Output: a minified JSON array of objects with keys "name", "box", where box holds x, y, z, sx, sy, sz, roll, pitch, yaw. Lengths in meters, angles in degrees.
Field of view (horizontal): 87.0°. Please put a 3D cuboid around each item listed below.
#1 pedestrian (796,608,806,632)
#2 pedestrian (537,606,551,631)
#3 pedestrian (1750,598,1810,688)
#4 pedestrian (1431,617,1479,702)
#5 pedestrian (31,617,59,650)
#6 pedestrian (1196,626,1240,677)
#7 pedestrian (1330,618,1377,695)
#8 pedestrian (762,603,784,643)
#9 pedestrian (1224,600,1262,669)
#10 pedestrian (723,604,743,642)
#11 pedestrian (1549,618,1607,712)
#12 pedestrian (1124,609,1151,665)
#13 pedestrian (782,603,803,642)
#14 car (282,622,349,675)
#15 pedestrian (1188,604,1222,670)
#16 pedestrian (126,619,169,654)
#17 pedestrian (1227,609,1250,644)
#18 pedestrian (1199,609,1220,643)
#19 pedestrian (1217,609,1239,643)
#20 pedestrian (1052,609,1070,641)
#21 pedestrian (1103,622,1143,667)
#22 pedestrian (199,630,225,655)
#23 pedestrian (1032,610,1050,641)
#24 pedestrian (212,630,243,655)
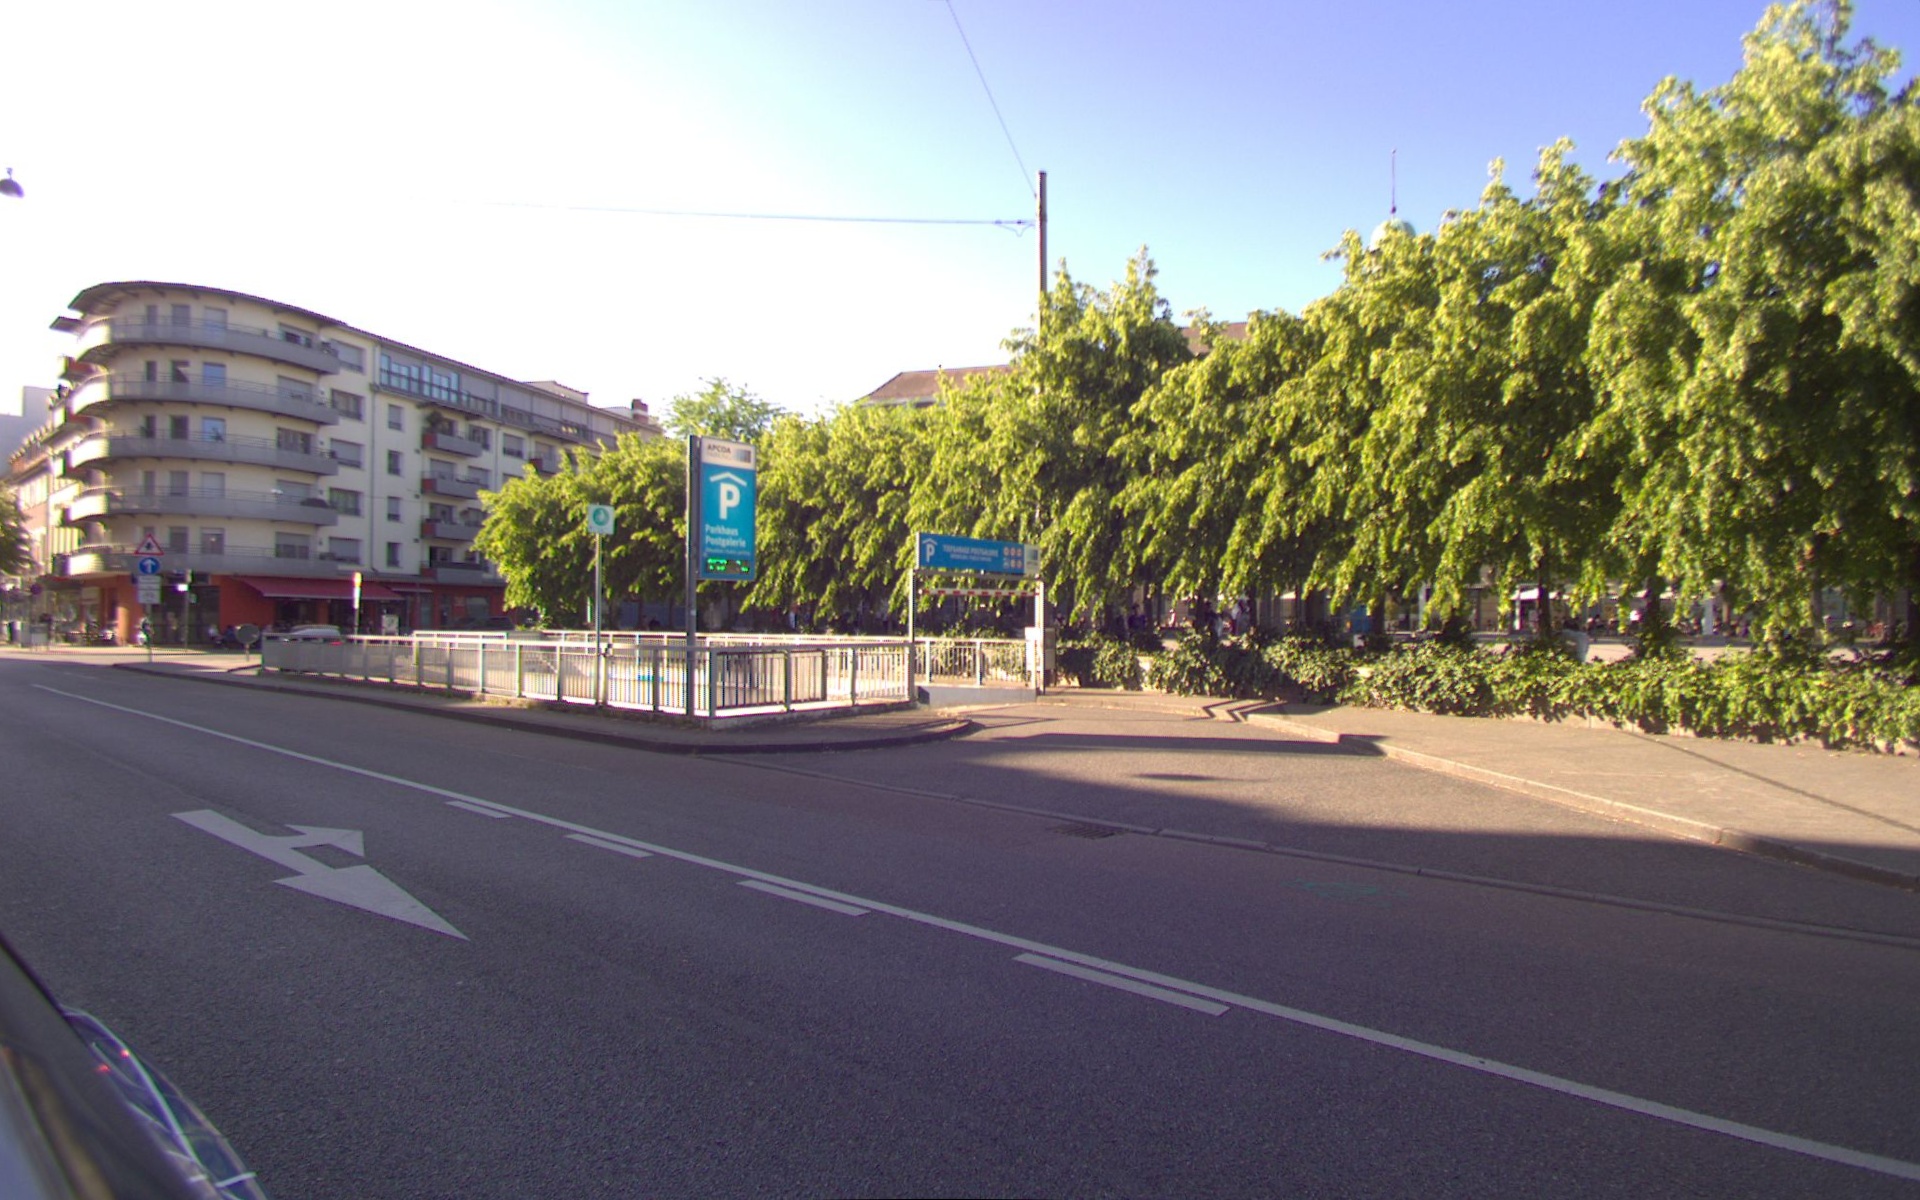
[{"name":"pedestrian","box":[-10.789,1.370,68.650,0.489,1.591,0.491,-1,0,16]},{"name":"pedestrian","box":[-31.177,1.407,75.927,0.684,1.857,0.737,-1,0,41]},{"name":"pedestrian","box":[14.346,0.732,17.716,0.691,1.532,0.677,-1,0,30]},{"name":"pedestrian","box":[8.752,1.028,17.891,0.621,1.447,0.645,-1,0,39]},{"name":"pedestrian","box":[-50.378,1.854,55.709,0.962,1.762,1.047,-1,0,41]},{"name":"pedestrian","box":[5.719,1.136,22.435,0.682,1.079,0.686,-1,0,-13]},{"name":"pedestrian","box":[7.525,1.063,19.338,0.622,1.409,0.644,-1,0,44]},{"name":"pedestrian","box":[-9.043,1.108,48.956,0.681,1.877,0.741,-1,0,27]},{"name":"pedestrian","box":[6.628,0.803,23.735,0.517,1.594,0.686,-1,0,-25]},{"name":"pedestrian","box":[-11.297,1.136,50.418,0.679,1.857,0.743,-1,0,19]},{"name":"pedestrian","box":[9.808,1.014,16.083,0.611,1.447,0.588,-1,0,14]},{"name":"pedestrian","box":[4.543,0.934,25.889,0.545,1.385,0.680,-1,0,19]},{"name":"pedestrian","box":[-8.228,1.107,49.759,0.681,1.857,0.741,-1,0,27]},{"name":"car","box":[-20.238,1.481,31.727,1.649,1.542,4.261,2,-2,-33]},{"name":"pedestrian","box":[5.735,0.856,23.703,0.688,1.511,0.680,-1,0,19]},{"name":"pedestrian","box":[-40.045,1.777,49.876,1.260,1.678,1.135,-1,0,12]},{"name":"pedestrian","box":[12.423,1.168,45.109,0.672,1.536,0.696,-1,0,-19]},{"name":"pedestrian","box":[11.439,1.181,46.383,0.673,1.535,0.695,-1,0,-7]},{"name":"pedestrian","box":[12.138,1.172,45.803,0.672,1.542,0.696,-1,0,-18]},{"name":"pedestrian","box":[4.473,1.113,44.810,0.684,1.385,0.684,-1,0,1]},{"name":"pedestrian","box":[4.039,1.094,25.054,0.682,1.079,0.686,-1,0,-29]},{"name":"pedestrian","box":[-37.639,2.143,50.932,0.882,1.207,0.772,-1,0,30]},{"name":"pedestrian","box":[3.578,1.124,44.846,0.752,1.385,0.684,-1,0,1]},{"name":"pedestrian","box":[-36.818,2.132,50.888,0.827,1.207,0.931,-1,0,16]}]
